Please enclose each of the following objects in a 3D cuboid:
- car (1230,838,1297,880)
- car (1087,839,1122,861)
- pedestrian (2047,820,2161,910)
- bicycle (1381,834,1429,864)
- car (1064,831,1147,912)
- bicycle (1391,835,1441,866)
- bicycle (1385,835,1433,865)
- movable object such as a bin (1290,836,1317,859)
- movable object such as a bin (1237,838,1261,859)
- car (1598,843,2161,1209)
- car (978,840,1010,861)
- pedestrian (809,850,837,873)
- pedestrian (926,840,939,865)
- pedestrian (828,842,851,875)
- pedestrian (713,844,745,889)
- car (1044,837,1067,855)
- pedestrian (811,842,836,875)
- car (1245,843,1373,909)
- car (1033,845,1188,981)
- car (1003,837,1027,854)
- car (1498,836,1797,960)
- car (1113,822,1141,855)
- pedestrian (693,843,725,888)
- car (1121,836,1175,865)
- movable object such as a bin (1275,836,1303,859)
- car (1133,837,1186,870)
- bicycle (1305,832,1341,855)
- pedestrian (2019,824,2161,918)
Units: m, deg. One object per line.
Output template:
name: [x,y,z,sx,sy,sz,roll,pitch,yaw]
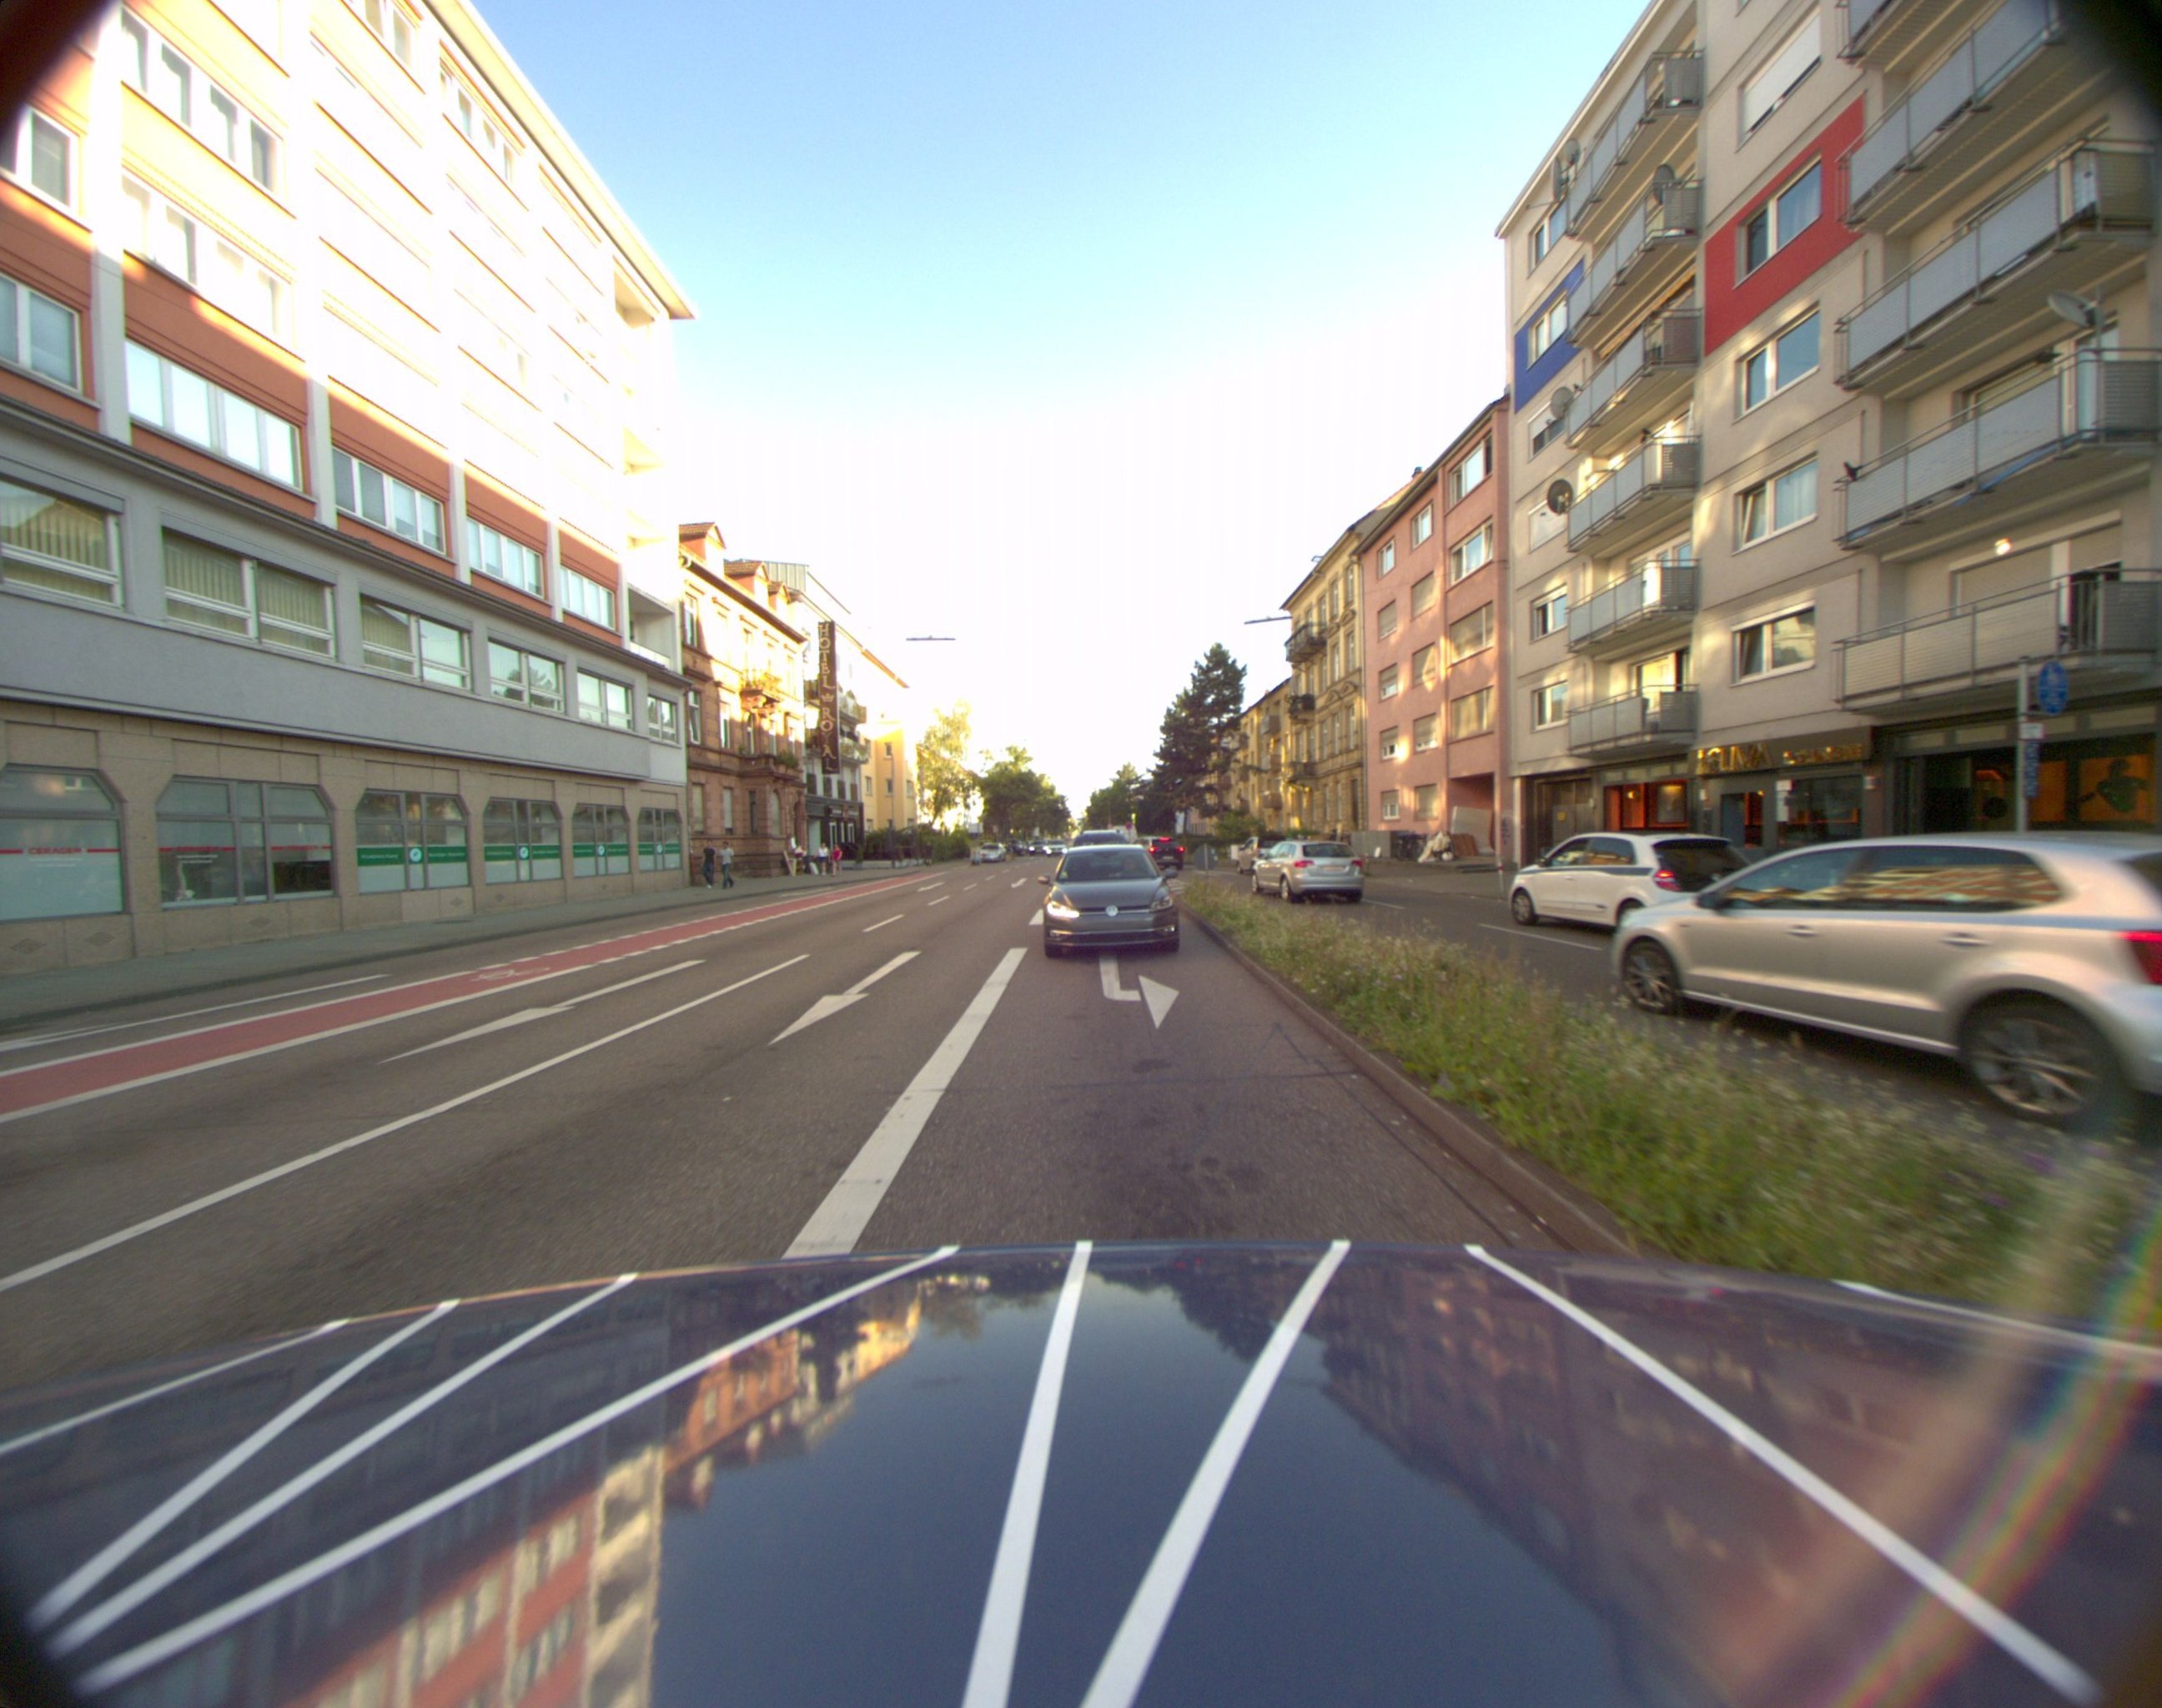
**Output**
car: [7.152,0.164,30.020,1.540,1.584,2.805,0,1,-11]
car: [1.605,-0.280,53.382,1.597,1.463,3.980,-1,1,-11]
pedestrian: [16.319,0.155,11.995,0.882,1.339,0.974,-2,2,1]
bicycle: [13.524,-0.197,31.737,1.780,1.184,0.473,-2,2,-2]
car: [0.587,0.351,19.715,1.895,1.843,4.465,0,2,0]
bicycle: [13.411,-0.160,30.426,1.780,1.184,0.473,-2,2,-2]
bicycle: [13.438,-0.176,31.159,1.780,1.184,0.473,-2,2,-2]
movable object such as a bin: [12.177,-0.349,41.620,1.195,1.226,0.847,-3,2,-39]
movable object such as a bin: [9.843,-0.316,44.480,0.847,1.226,1.196,0,2,43]
car: [5.426,0.712,4.816,1.679,1.536,3.805,0,1,0]
car: [-6.809,-0.287,59.550,1.905,1.509,4.074,-2,1,1]
pedestrian: [-13.377,0.391,39.423,1.100,1.129,0.924,-2,2,-2]
pedestrian: [-9.960,-0.117,50.965,0.738,1.593,1.010,1,2,-2]
pedestrian: [-11.890,0.213,37.425,0.738,1.579,1.011,3,2,5]
pedestrian: [-13.608,0.472,29.411,0.668,1.716,1.011,-1,2,2]
car: [-2.326,-0.757,69.351,1.907,1.532,3.998,-2,2,0]
pedestrian: [-12.678,0.202,37.479,0.786,1.579,1.011,3,2,5]
car: [5.348,0.444,18.403,1.713,1.417,4.100,0,1,-2]
car: [0.392,0.675,11.131,1.770,1.451,4.268,-3,2,1]
car: [-6.533,-0.872,75.331,1.947,1.616,4.193,-2,1,1]
car: [8.057,0.518,11.292,1.680,1.536,3.637,0,1,-1]
car: [4.051,-1.387,67.551,2.136,2.741,4.465,0,2,0]
pedestrian: [-14.365,0.433,29.349,0.668,1.716,1.011,-1,2,2]
car: [3.920,-0.234,44.965,1.726,1.619,4.095,-1,1,-18]
movable object such as a bin: [11.610,-0.345,42.370,1.295,1.226,0.926,-3,2,-39]
car: [3.745,-0.062,36.923,1.680,1.536,4.099,0,1,-7]
bicycle: [13.087,-0.558,41.123,1.780,1.184,0.473,-2,2,-2]
pedestrian: [15.107,0.234,11.395,0.974,1.339,0.882,-2,2,1]
